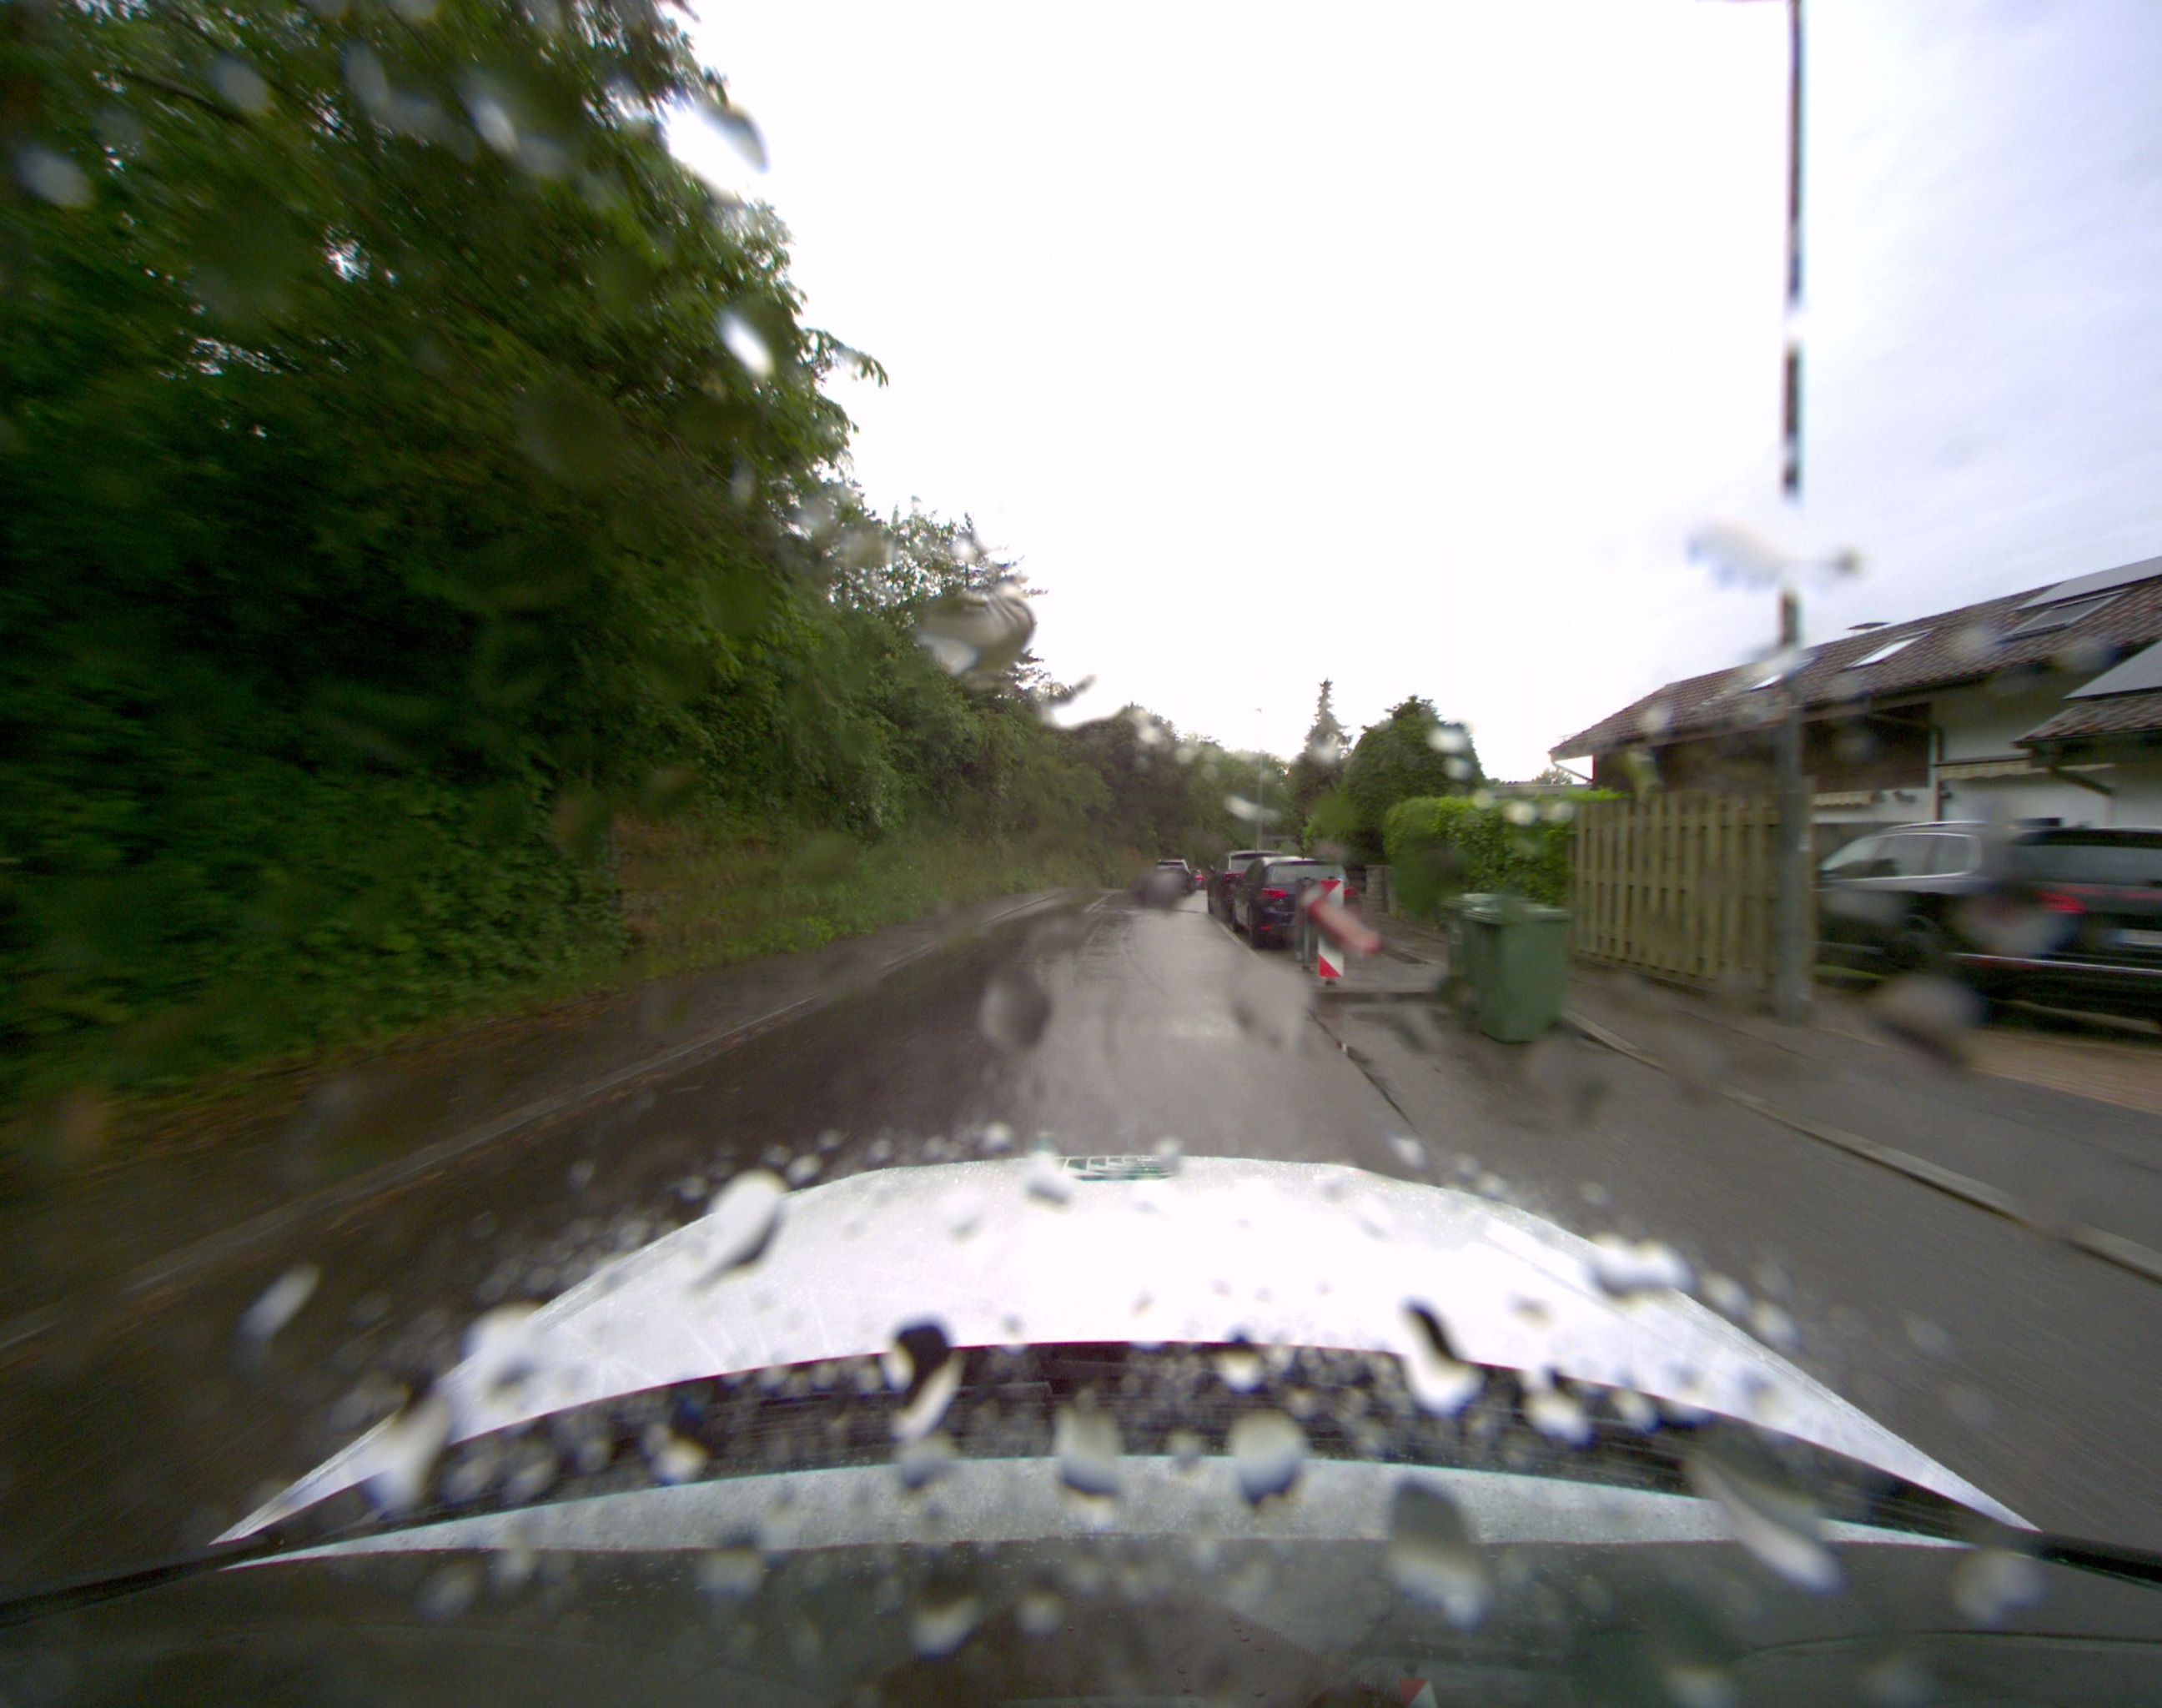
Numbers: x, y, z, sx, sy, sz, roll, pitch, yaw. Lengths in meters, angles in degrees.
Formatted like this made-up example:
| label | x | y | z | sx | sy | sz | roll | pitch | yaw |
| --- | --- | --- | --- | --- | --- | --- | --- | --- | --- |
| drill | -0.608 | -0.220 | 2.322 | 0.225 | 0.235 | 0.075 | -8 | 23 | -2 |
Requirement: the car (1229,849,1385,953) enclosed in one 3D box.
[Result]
| label | x | y | z | sx | sy | sz | roll | pitch | yaw |
| --- | --- | --- | --- | --- | --- | --- | --- | --- | --- |
| car | 3.621 | 0.655 | 13.789 | 1.748 | 1.462 | 4.306 | 0 | 0 | 4 |

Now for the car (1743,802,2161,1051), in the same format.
| label | x | y | z | sx | sy | sz | roll | pitch | yaw |
| --- | --- | --- | --- | --- | --- | --- | --- | --- | --- |
| car | 8.331 | 0.552 | 7.786 | 1.976 | 1.720 | 4.433 | 3 | 0 | 24 |

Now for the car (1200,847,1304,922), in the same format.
| label | x | y | z | sx | sy | sz | roll | pitch | yaw |
| --- | --- | --- | --- | --- | --- | --- | --- | --- | --- |
| car | 3.947 | 0.639 | 19.508 | 1.867 | 1.592 | 4.485 | 0 | 0 | 4 |

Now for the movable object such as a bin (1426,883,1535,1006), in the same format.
| label | x | y | z | sx | sy | sz | roll | pitch | yaw |
| --- | --- | --- | --- | --- | --- | --- | --- | --- | --- |
| movable object such as a bin | 3.745 | 0.828 | 7.684 | 0.726 | 1.078 | 0.661 | 0 | 0 | 2 |

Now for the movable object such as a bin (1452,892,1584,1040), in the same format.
| label | x | y | z | sx | sy | sz | roll | pitch | yaw |
| --- | --- | --- | --- | --- | --- | --- | --- | --- | --- |
| movable object such as a bin | 3.489 | 0.871 | 6.550 | 0.713 | 1.095 | 0.656 | 0 | 0 | 0 |

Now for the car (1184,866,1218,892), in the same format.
| label | x | y | z | sx | sy | sz | roll | pitch | yaw |
| --- | --- | --- | --- | --- | --- | --- | --- | --- | --- |
| car | 8.240 | 1.666 | 55.656 | 1.980 | 1.605 | 4.424 | 0 | 0 | 12 |

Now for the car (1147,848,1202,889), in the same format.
| label | x | y | z | sx | sy | sz | roll | pitch | yaw |
| --- | --- | --- | --- | --- | --- | --- | --- | --- | --- |
| car | 4.035 | 0.658 | 34.574 | 1.855 | 1.513 | 4.106 | 1 | -3 | 13 |
